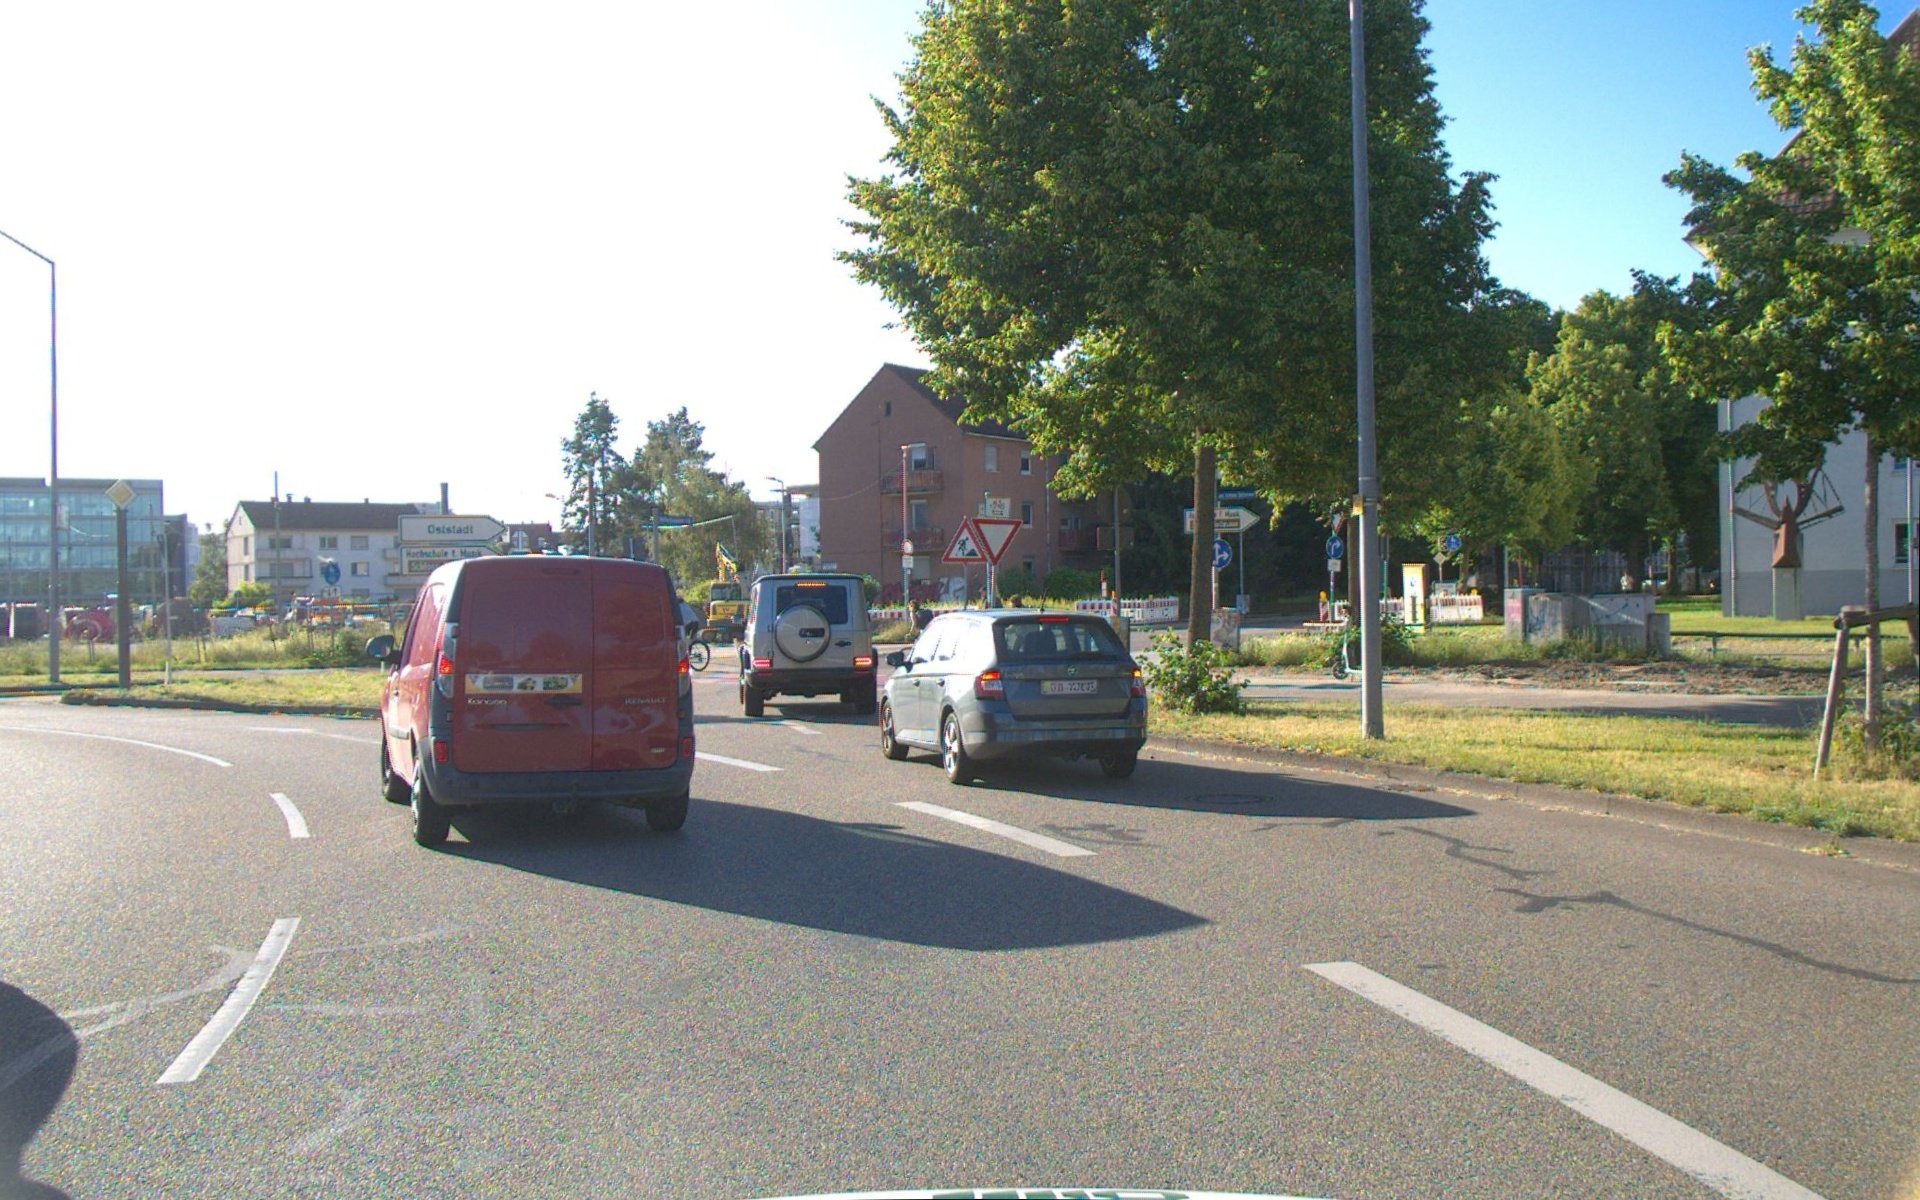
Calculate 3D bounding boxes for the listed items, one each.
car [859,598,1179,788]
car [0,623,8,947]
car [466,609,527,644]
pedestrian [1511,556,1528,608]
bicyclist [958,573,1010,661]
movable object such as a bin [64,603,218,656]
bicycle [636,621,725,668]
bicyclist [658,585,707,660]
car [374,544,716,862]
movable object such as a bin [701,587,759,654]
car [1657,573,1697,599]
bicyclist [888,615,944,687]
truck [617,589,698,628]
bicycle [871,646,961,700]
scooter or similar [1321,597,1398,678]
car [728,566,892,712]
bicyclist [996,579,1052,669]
[{"bbox_3d":[0.371,0.751,15.128,1.687,1.461,4.132,-1,-1,-17],"label":"car"},{"bbox_3d":[-4.720,0.808,4.966,1.727,1.404,4.350,-1,0,-8],"label":"car"},{"bbox_3d":[-28.392,1.613,101.276,1.981,2.049,4.434,1,-1,-39],"label":"car"},{"bbox_3d":[22.050,-0.719,65.155,0.463,2.049,0.452,-1,0,43],"label":"pedestrian"},{"bbox_3d":[0.488,0.346,33.684,0.798,1.760,0.650,-2,-1,43],"label":"bicyclist"},{"bbox_3d":[-48.011,1.678,97.079,7.835,2.831,2.909,-1,0,-34],"label":"movable object such as a bin"},{"bbox_3d":[-6.595,1.047,38.985,1.963,1.045,0.742,0,2,23],"label":"bicycle"},{"bbox_3d":[-6.536,0.522,38.924,0.834,1.709,0.742,-1,2,23],"label":"bicyclist"},{"bbox_3d":[-3.080,0.594,11.711,1.778,1.845,3.782,-1,0,-23],"label":"car"},{"bbox_3d":[-10.008,0.898,71.776,2.375,2.822,3.990,1,-1,-10],"label":"movable object such as a bin"},{"bbox_3d":[54.538,-1.028,125.820,1.961,1.904,3.983,0,-1,37],"label":"car"},{"bbox_3d":[-0.882,1.017,33.115,0.917,1.409,0.657,-1,-1,38],"label":"bicyclist"},{"bbox_3d":[-16.568,0.498,90.385,2.144,2.049,6.363,1,-1,-32],"label":"truck"},{"bbox_3d":[-0.896,1.448,33.133,1.788,1.046,0.657,-1,-2,37],"label":"bicycle"},{"bbox_3d":[6.432,0.608,26.654,0.439,1.270,1.250,1,-2,-33],"label":"scooter or similar"},{"bbox_3d":[-2.344,0.547,24.619,1.961,1.930,4.739,-1,-1,-11],"label":"car"},{"bbox_3d":[1.232,0.463,31.814,0.883,1.694,0.656,-1,-2,41],"label":"bicyclist"}]
